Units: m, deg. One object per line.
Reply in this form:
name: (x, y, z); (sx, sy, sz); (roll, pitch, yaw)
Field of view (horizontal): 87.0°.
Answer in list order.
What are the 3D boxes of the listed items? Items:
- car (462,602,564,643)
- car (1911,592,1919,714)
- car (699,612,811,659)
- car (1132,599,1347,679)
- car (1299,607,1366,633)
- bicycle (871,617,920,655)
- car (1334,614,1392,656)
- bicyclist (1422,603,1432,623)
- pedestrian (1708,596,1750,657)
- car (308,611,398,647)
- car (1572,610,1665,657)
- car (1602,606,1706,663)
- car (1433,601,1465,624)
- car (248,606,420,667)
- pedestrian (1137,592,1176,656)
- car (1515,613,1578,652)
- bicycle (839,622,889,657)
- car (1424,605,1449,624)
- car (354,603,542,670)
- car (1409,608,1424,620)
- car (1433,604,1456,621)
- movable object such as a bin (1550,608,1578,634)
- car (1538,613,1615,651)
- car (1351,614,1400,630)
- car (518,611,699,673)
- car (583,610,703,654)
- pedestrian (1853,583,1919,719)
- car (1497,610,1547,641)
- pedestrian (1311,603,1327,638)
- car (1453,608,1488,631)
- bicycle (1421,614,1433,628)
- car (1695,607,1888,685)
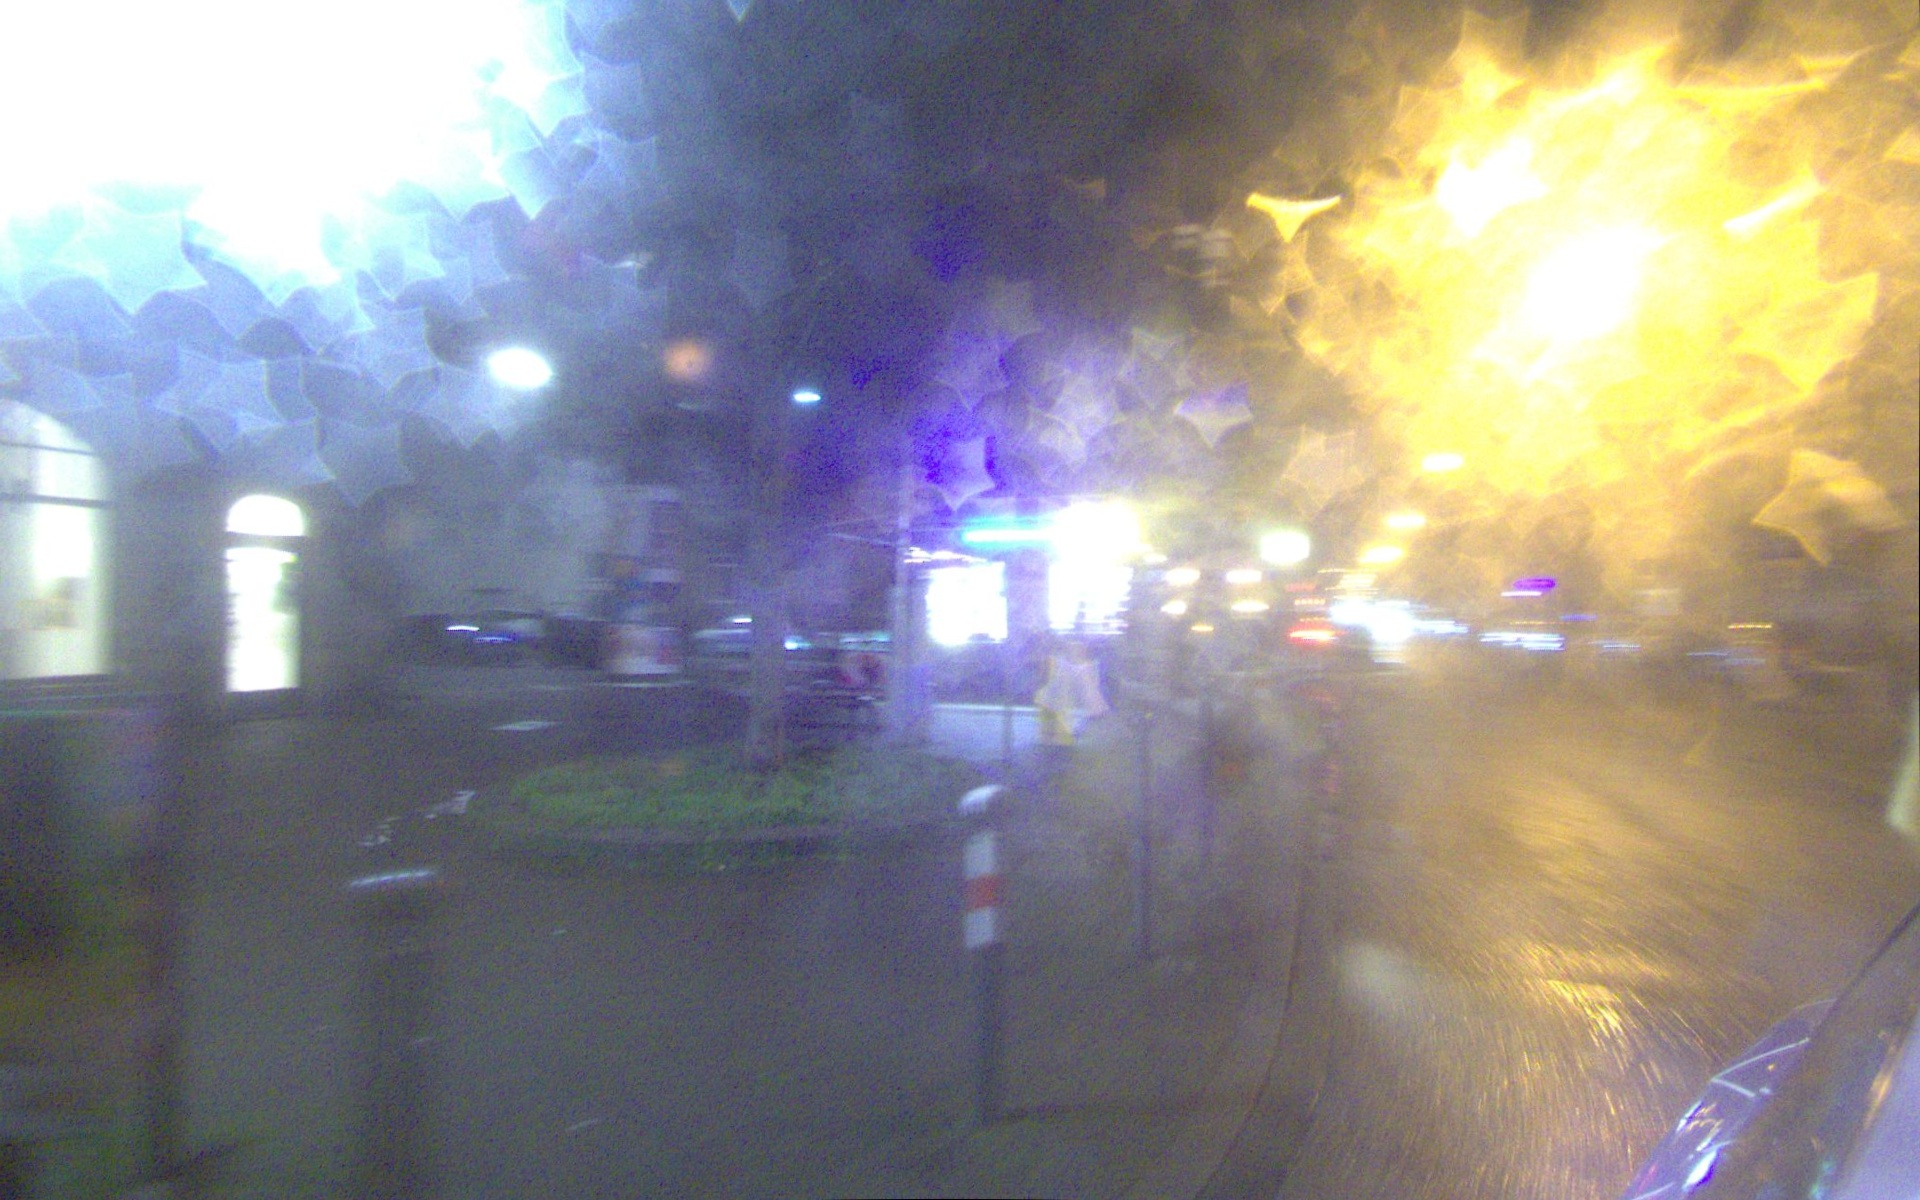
car: (-16.594, 0.824, 37.576); (3.377, 1.477, 1.597); (0, -1, 23)
car: (13.717, 0.732, 12.057); (1.816, 1.739, 4.562); (-1, -1, 21)
car: (-6.863, 1.160, 33.903); (3.377, 1.477, 1.597); (0, -1, 23)
car: (6.583, 0.863, 24.056); (4.547, 1.638, 1.901); (2, 0, 36)
car: (27.202, 1.452, 73.959); (4.474, 1.550, 1.767); (3, 1, 21)
bicycle: (-2.051, 1.136, 32.382); (0.695, 1.130, 1.967); (-3, -1, 25)
car: (14.954, 1.244, 37.708); (1.900, 1.430, 3.973); (0, 0, 20)
bicyclist: (38.421, 1.054, 83.303); (0.712, 1.576, 0.889); (1, -1, 21)
pedestrian: (23.579, 0.808, 31.062); (0.737, 1.827, 0.978); (-3, -1, 25)
car: (-25.511, 1.207, 42.526); (3.377, 1.477, 1.597); (0, -1, 23)
car: (22.751, 1.115, 35.130); (1.816, 1.500, 4.276); (-1, -1, 21)
car: (20.972, 0.990, 30.746); (1.729, 1.609, 3.739); (-1, -1, 21)
car: (40.825, 1.017, 84.651); (1.978, 1.853, 5.168); (0, -1, 21)
car: (-19.202, 1.068, 31.053); (4.631, 1.765, 1.990); (0, -1, 18)
pedestrian: (5.788, 0.710, 29.723); (0.856, 1.811, 1.073); (2, -1, 25)
car: (26.210, 1.414, 45.359); (1.758, 1.592, 4.105); (0, 0, 21)
bicycle: (-3.109, 1.276, 32.870); (0.695, 1.023, 1.967); (-3, -1, 25)
car: (46.424, 1.385, 98.675); (1.886, 1.853, 4.794); (0, -1, 21)
car: (-14.255, 0.972, 28.222); (4.631, 1.765, 1.990); (0, -1, 18)
car: (56.938, 1.745, 126.228); (1.680, 1.498, 3.354); (-1, -2, 25)
car: (42.744, 1.117, 89.361); (1.555, 1.478, 3.692); (0, -1, 21)
movable object such as a bin: (34.046, 1.173, 57.042); (1.091, 1.472, 1.370); (1, 0, 19)
car: (24.368, 1.225, 40.128); (1.806, 1.407, 4.394); (0, 0, 21)
car: (39.138, 2.114, 95.320); (1.719, 1.394, 4.002); (-2, -1, -30)
car: (-9.254, 1.068, 26.669); (4.362, 1.522, 1.761); (0, -1, 18)
car: (-11.082, 1.084, 35.365); (3.935, 1.477, 1.597); (0, -1, 23)
pedestrian: (14.253, 0.757, 15.345); (0.759, 1.999, 0.655); (-3, -1, 15)
car: (28.688, 1.276, 51.728); (1.657, 1.510, 3.695); (-2, -1, 21)
pedestrian: (18.983, 1.090, 53.530); (0.697, 1.811, 0.619); (2, -1, 25)
car: (36.704, 1.371, 72.846); (1.752, 1.502, 4.736); (-4, -2, 22)
bicycle: (38.485, 1.751, 83.378); (0.721, 1.086, 2.332); (1, 0, 21)
car: (17.722, 0.901, 21.859); (1.816, 1.505, 4.562); (-1, -1, 21)
